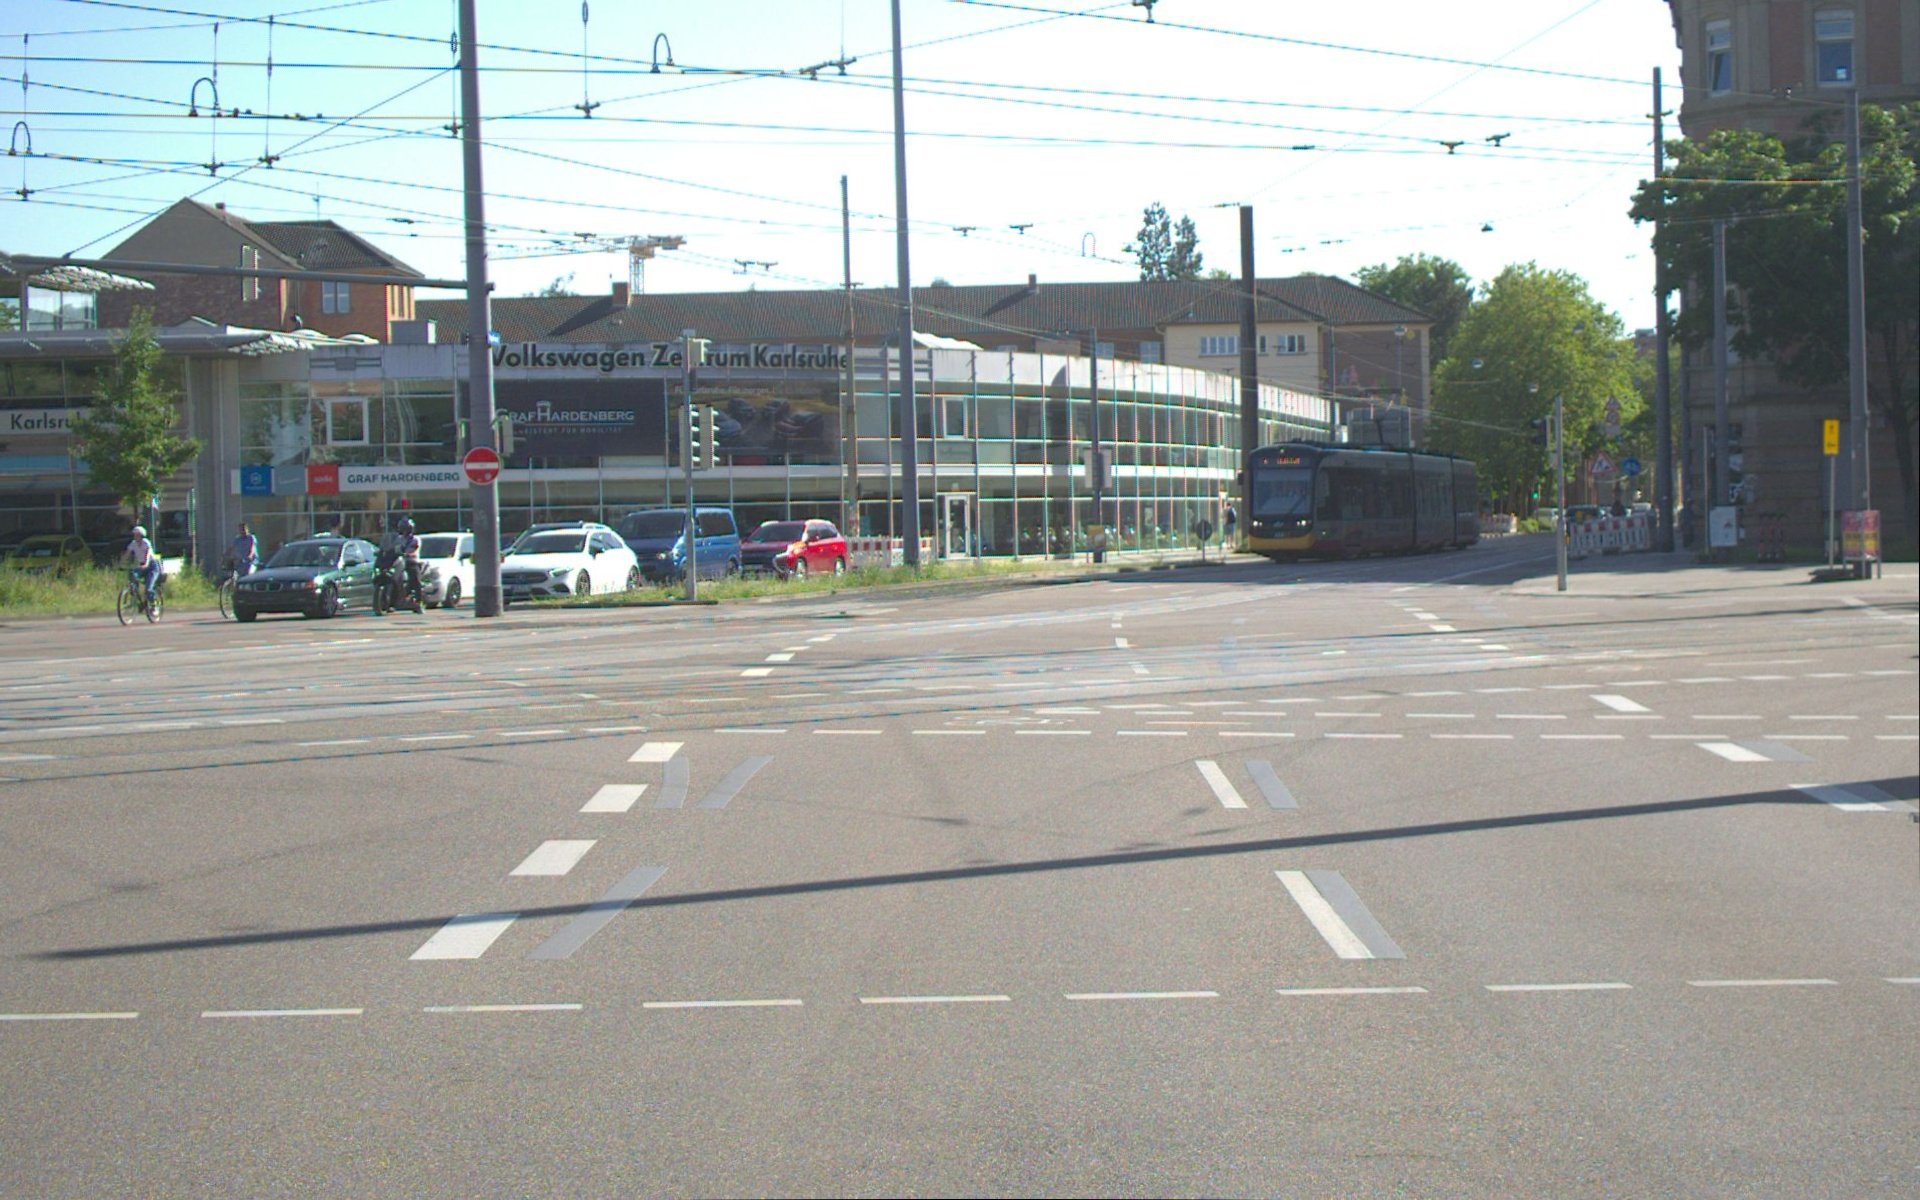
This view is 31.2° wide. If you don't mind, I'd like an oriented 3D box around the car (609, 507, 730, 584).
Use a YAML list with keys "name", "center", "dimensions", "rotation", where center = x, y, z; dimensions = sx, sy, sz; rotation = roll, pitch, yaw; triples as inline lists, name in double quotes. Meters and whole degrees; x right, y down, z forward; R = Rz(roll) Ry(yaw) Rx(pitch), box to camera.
- name: "car"
  center: [-6.649, -1.275, 78.954]
  dimensions: [1.627, 1.686, 3.683]
  rotation: [-1, 1, 14]

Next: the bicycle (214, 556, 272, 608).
- name: "bicycle"
  center: [-13.277, -0.344, 63.662]
  dimensions: [0.468, 0.923, 1.474]
  rotation: [-1, 1, 12]

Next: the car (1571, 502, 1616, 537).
- name: "car"
  center: [28.590, -3.644, 155.159]
  dimensions: [1.700, 1.497, 4.262]
  rotation: [-1, 1, 14]

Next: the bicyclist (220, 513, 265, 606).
- name: "bicyclist"
  center: [-13.278, -0.749, 63.620]
  dimensions: [0.569, 1.708, 0.648]
  rotation: [-1, 1, 12]

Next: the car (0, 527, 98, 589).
- name: "car"
  center: [-26.536, -1.239, 99.872]
  dimensions: [1.966, 1.700, 4.084]
  rotation: [-1, 1, -1]

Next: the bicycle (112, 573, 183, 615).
- name: "bicycle"
  center: [-14.529, -0.108, 61.482]
  dimensions: [0.423, 0.715, 1.473]
  rotation: [-1, 1, 23]

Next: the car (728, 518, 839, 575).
- name: "car"
  center: [-4.400, -1.347, 86.081]
  dimensions: [1.627, 1.359, 3.683]
  rotation: [-1, 1, 16]

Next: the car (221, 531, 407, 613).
- name: "car"
  center: [-11.392, -0.510, 60.873]
  dimensions: [1.705, 1.349, 3.698]
  rotation: [-1, 1, 17]

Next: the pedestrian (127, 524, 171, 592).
- name: "pedestrian"
  center: [-14.514, -0.754, 61.540]
  dimensions: [0.423, 1.200, 0.680]
  rotation: [-1, 1, 23]

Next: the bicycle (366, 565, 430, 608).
- name: "bicycle"
  center: [-9.843, -0.246, 60.253]
  dimensions: [0.423, 0.715, 1.633]
  rotation: [-1, 1, 17]

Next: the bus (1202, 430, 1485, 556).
- name: "bus"
  center: [12.816, -3.240, 110.728]
  dimensions: [3.840, 3.595, 24.843]
  rotation: [1, 1, 19]

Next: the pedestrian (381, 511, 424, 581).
- name: "pedestrian"
  center: [-9.792, -0.950, 60.388]
  dimensions: [0.423, 1.200, 0.749]
  rotation: [-1, 1, 17]

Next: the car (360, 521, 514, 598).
- name: "car"
  center: [-10.123, -0.802, 66.824]
  dimensions: [1.627, 1.419, 3.683]
  rotation: [-1, 1, 14]

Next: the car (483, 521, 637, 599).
- name: "car"
  center: [-7.524, -0.773, 64.942]
  dimensions: [1.627, 1.377, 3.735]
  rotation: [-1, 1, 14]
